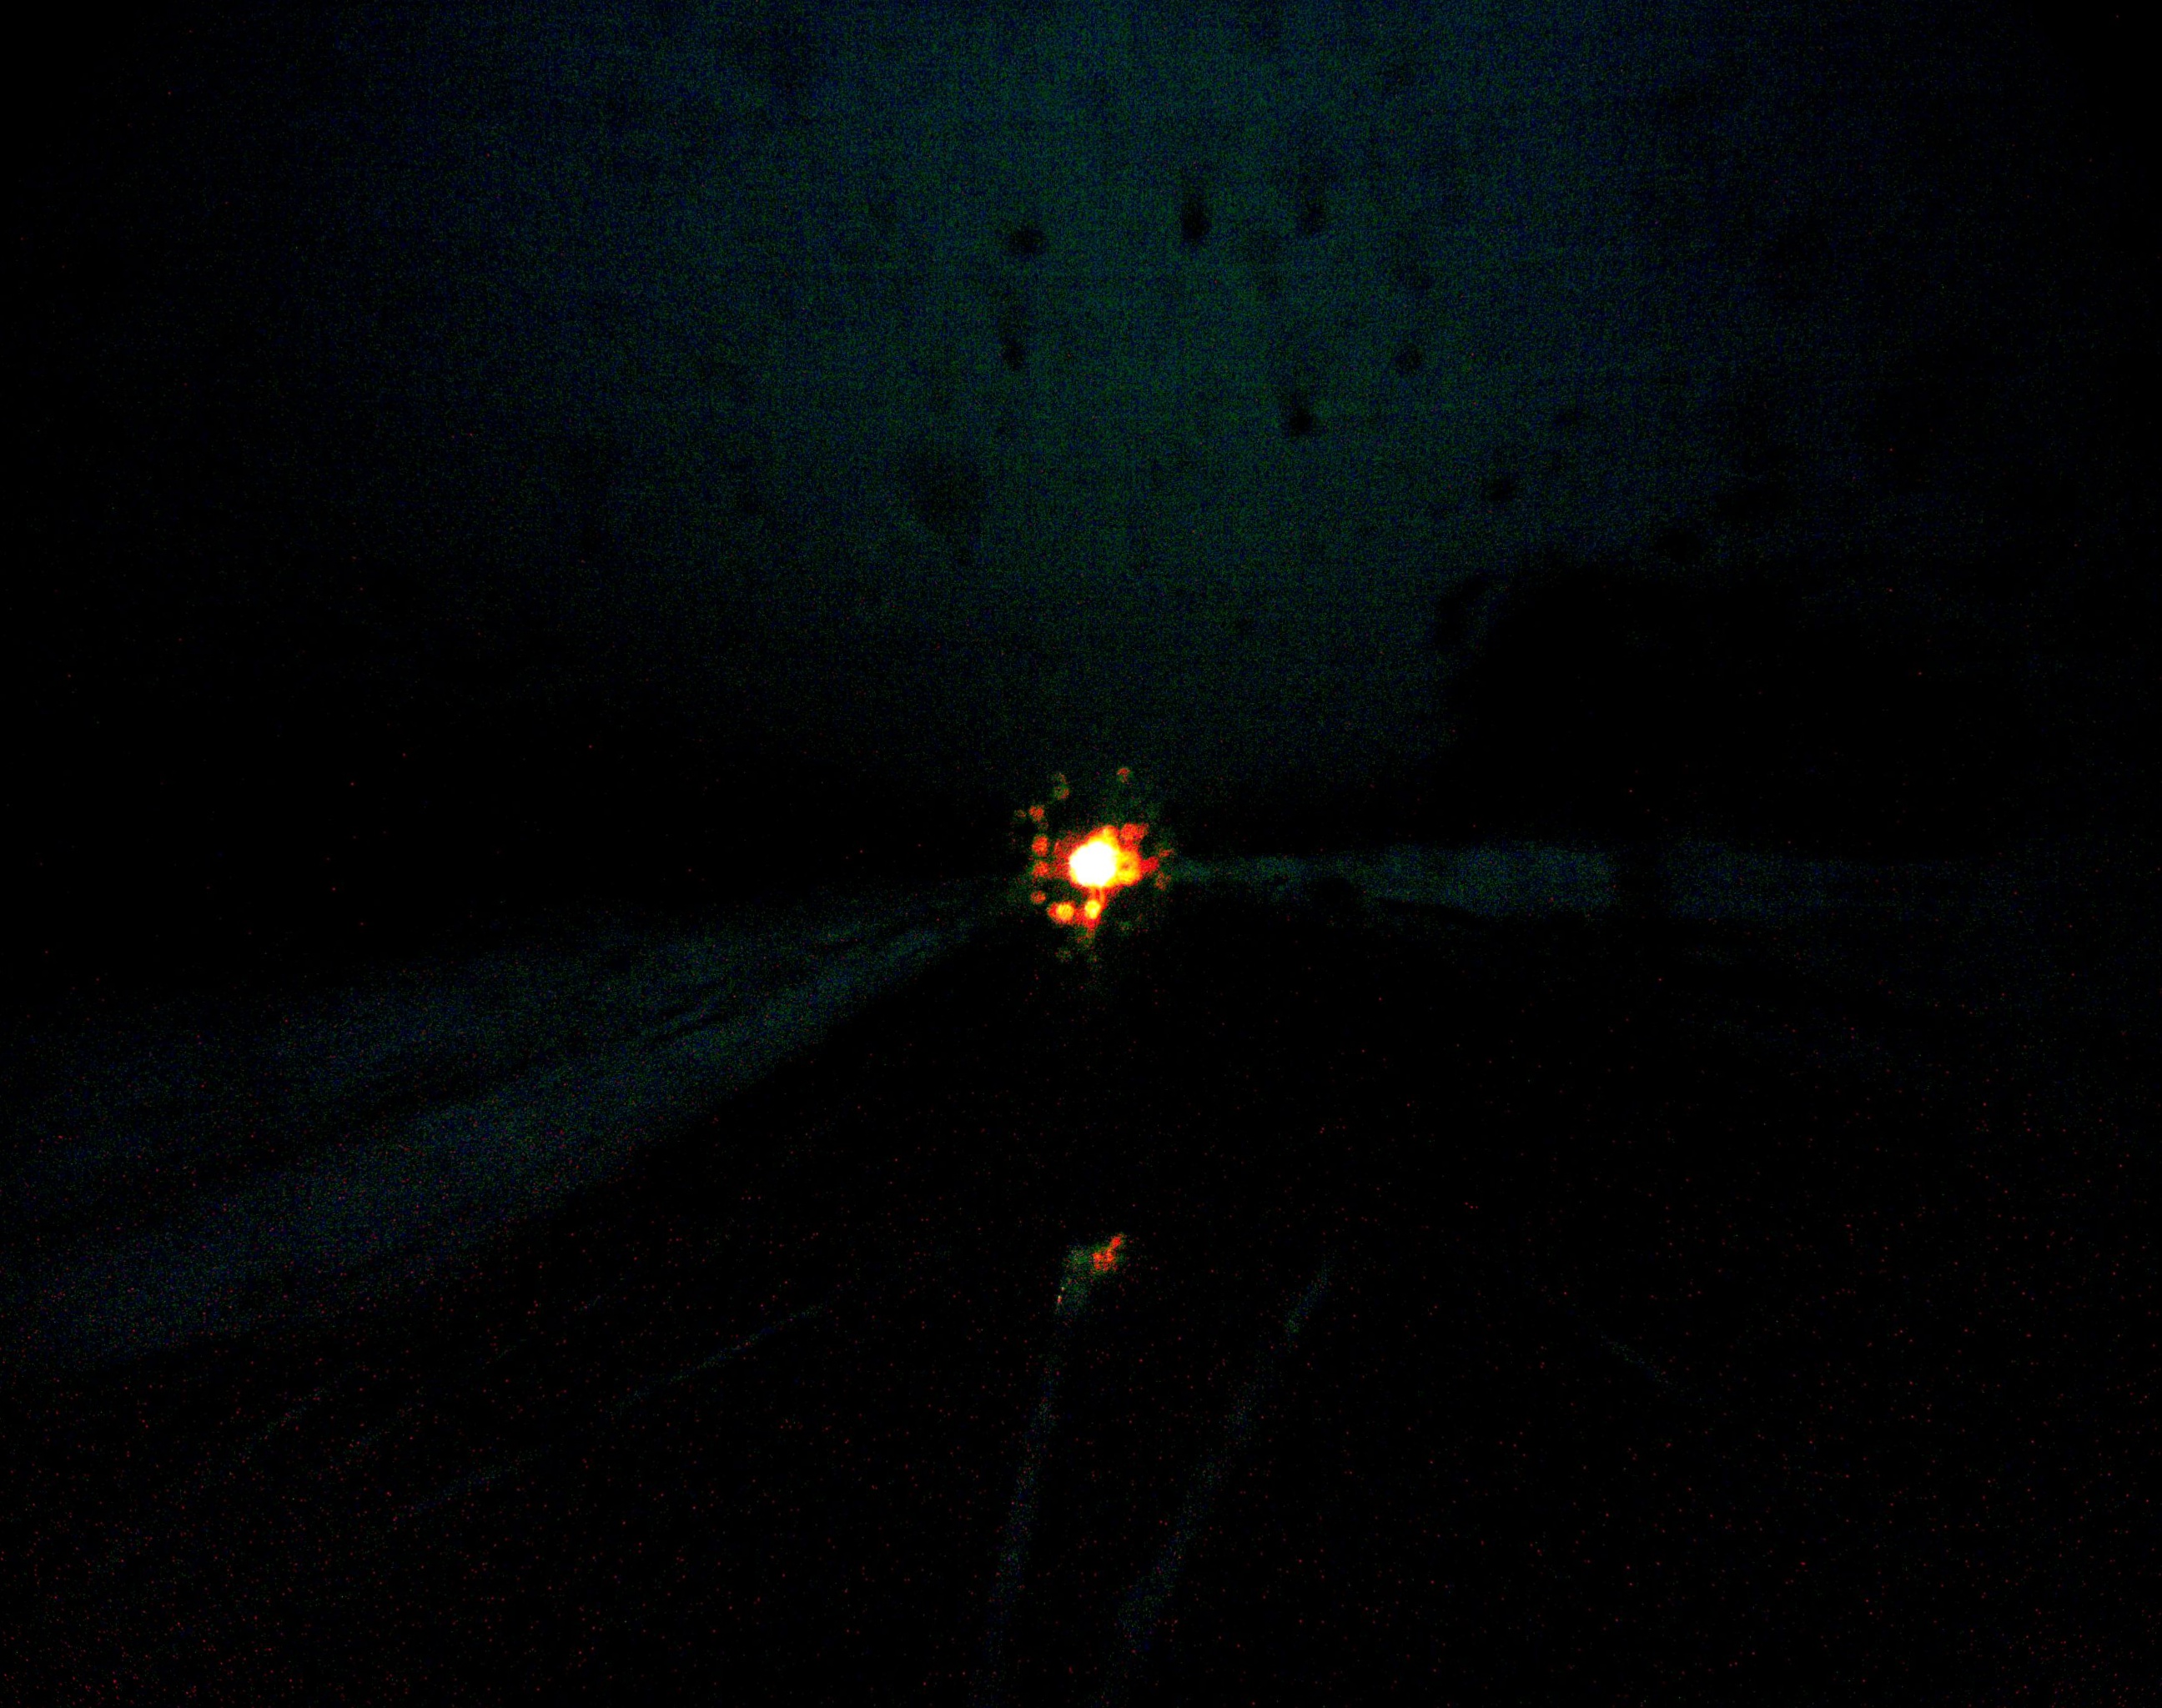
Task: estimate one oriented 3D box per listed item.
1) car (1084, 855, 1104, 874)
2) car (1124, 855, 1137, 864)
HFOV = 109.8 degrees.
[{"bbox_3d":[1.644,1.220,92.376,1.998,2.002,4.001,-5,1,5],"label":"car"},{"bbox_3d":[7.554,0.821,116.439,1.732,1.338,4.222,0,0,1],"label":"car"}]
